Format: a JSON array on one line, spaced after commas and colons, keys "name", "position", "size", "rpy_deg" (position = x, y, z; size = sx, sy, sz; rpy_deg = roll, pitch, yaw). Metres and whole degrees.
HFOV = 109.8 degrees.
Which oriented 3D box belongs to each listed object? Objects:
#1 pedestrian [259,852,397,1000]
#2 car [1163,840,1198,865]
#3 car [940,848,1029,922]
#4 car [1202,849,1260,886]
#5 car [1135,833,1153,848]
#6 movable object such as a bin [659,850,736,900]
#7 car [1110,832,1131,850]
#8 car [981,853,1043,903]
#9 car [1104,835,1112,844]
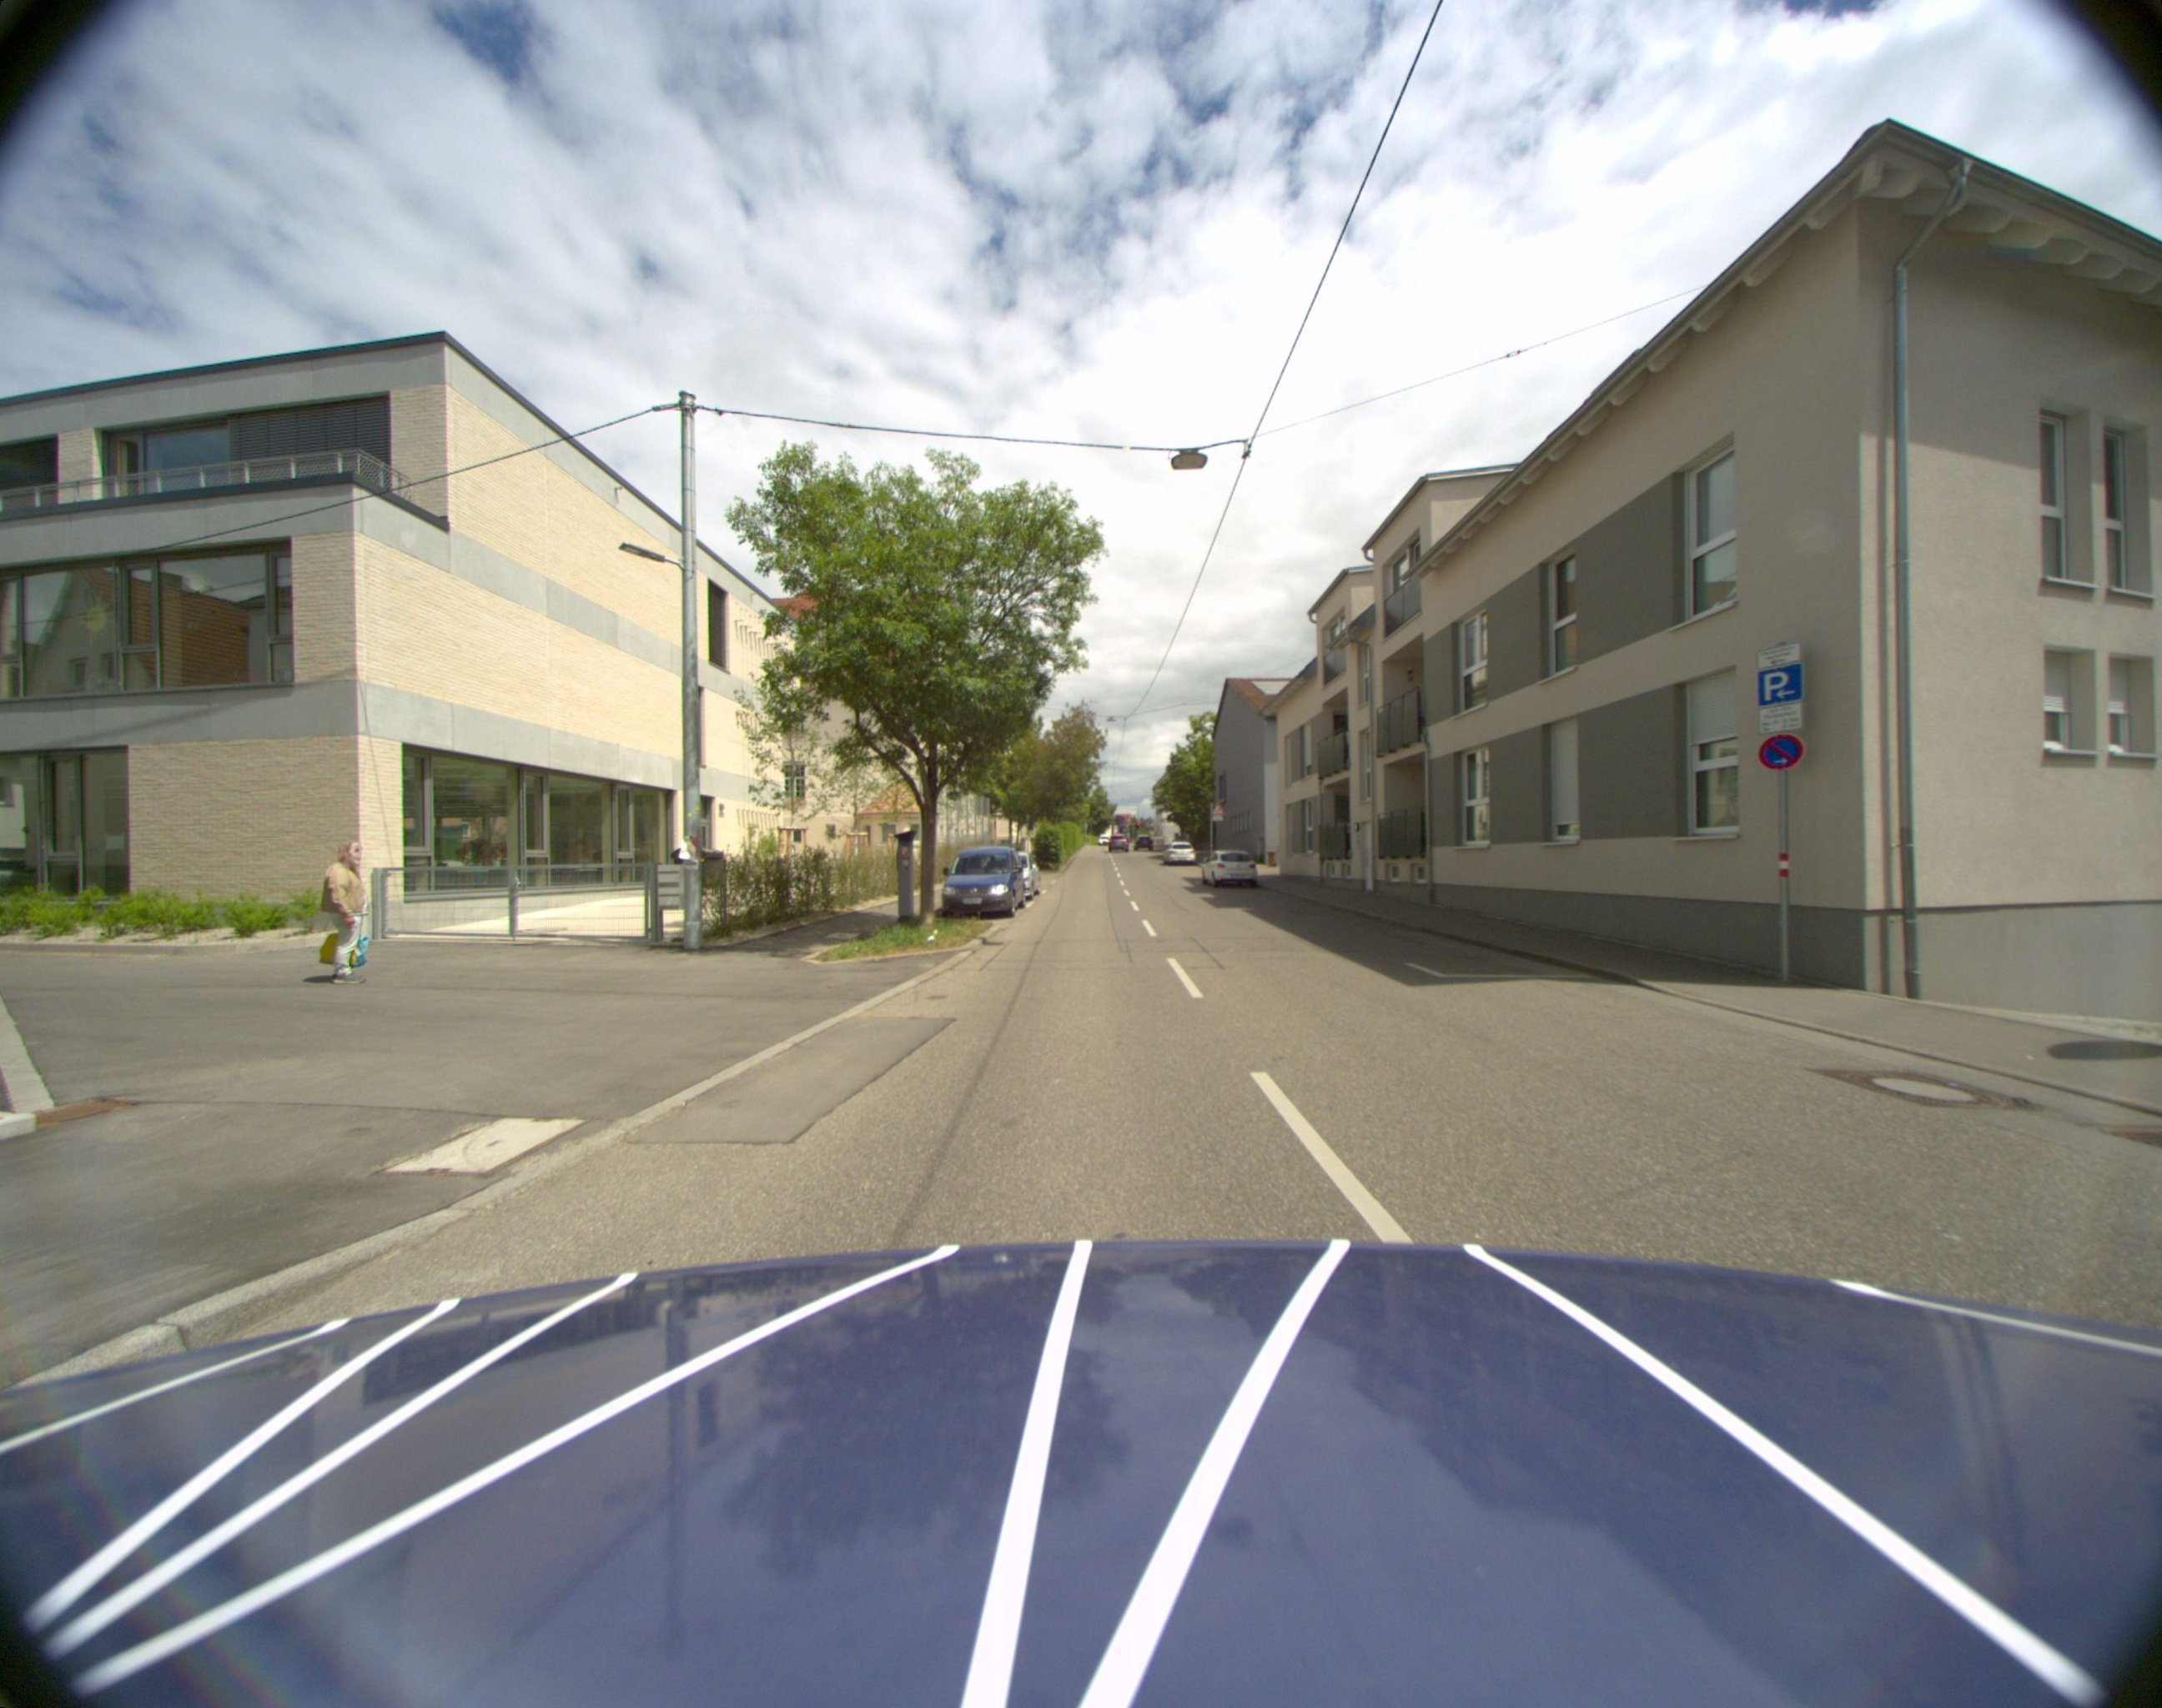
[{"name": "pedestrian", "position": [-9.153, 0.843, 9.280], "size": [0.775, 1.693, 0.829], "rpy_deg": [-2, 1, 0]}, {"name": "car", "position": [6.282, -0.136, 48.214], "size": [1.737, 1.480, 4.065], "rpy_deg": [0, 2, 1]}, {"name": "car", "position": [-2.413, 0.712, 19.911], "size": [1.698, 1.733, 4.159], "rpy_deg": [0, 1, 1]}, {"name": "car", "position": [5.900, 0.484, 30.232], "size": [1.665, 1.322, 3.473], "rpy_deg": [0, 1, 1]}, {"name": "car", "position": [6.746, -1.498, 81.377], "size": [1.672, 1.545, 3.964], "rpy_deg": [0, 2, 1]}, {"name": "movable object such as a bin", "position": [-11.537, 0.616, 22.944], "size": [1.351, 1.438, 1.807], "rpy_deg": [-1, 0, 2]}, {"name": "car", "position": [3.876, -1.230, 75.218], "size": [1.946, 1.709, 4.597], "rpy_deg": [0, 0, 0]}, {"name": "car", "position": [-2.253, 0.747, 25.597], "size": [1.677, 1.510, 3.670], "rpy_deg": [-1, 1, 1]}, {"name": "car", "position": [4.380, -2.345, 123.422], "size": [1.298, 1.148, 2.983], "rpy_deg": [-3, -1, 1]}]
